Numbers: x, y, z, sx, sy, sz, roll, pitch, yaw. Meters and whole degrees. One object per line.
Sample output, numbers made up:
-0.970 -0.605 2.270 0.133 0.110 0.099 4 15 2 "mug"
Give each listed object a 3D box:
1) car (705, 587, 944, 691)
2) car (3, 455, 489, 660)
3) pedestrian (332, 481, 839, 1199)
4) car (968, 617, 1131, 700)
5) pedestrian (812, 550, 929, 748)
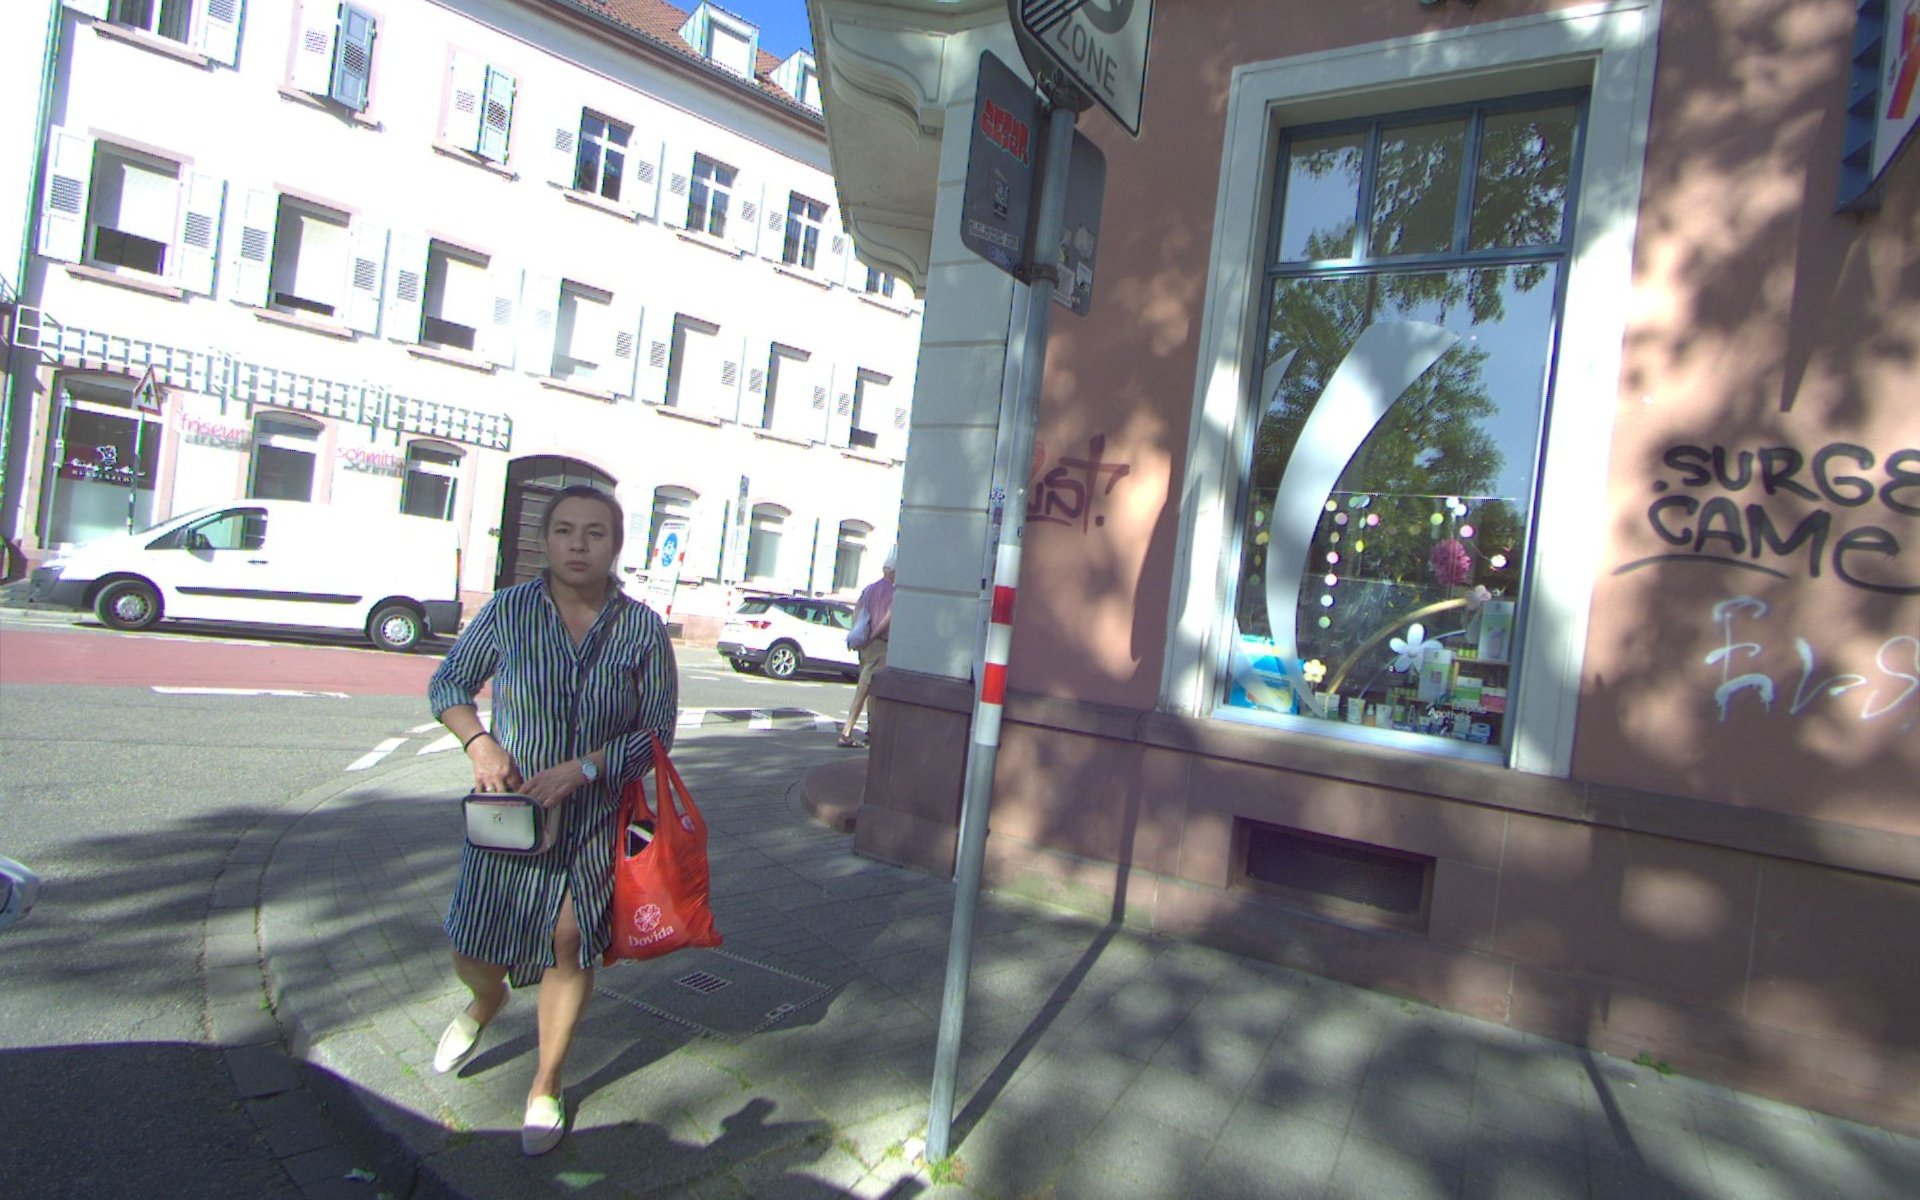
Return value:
-2.584 0.805 19.806 4.347 1.559 1.630 8 -3 -38 "car"
-9.451 -0.452 13.846 4.980 1.969 2.032 8 -1 -35 "car"
-0.936 0.542 2.570 0.832 1.596 0.843 6 4 31 "pedestrian"
2.171 1.411 23.875 3.609 1.559 1.616 8 -3 -38 "car"
-0.846 0.450 9.610 0.817 1.787 0.750 1 0 29 "pedestrian"
